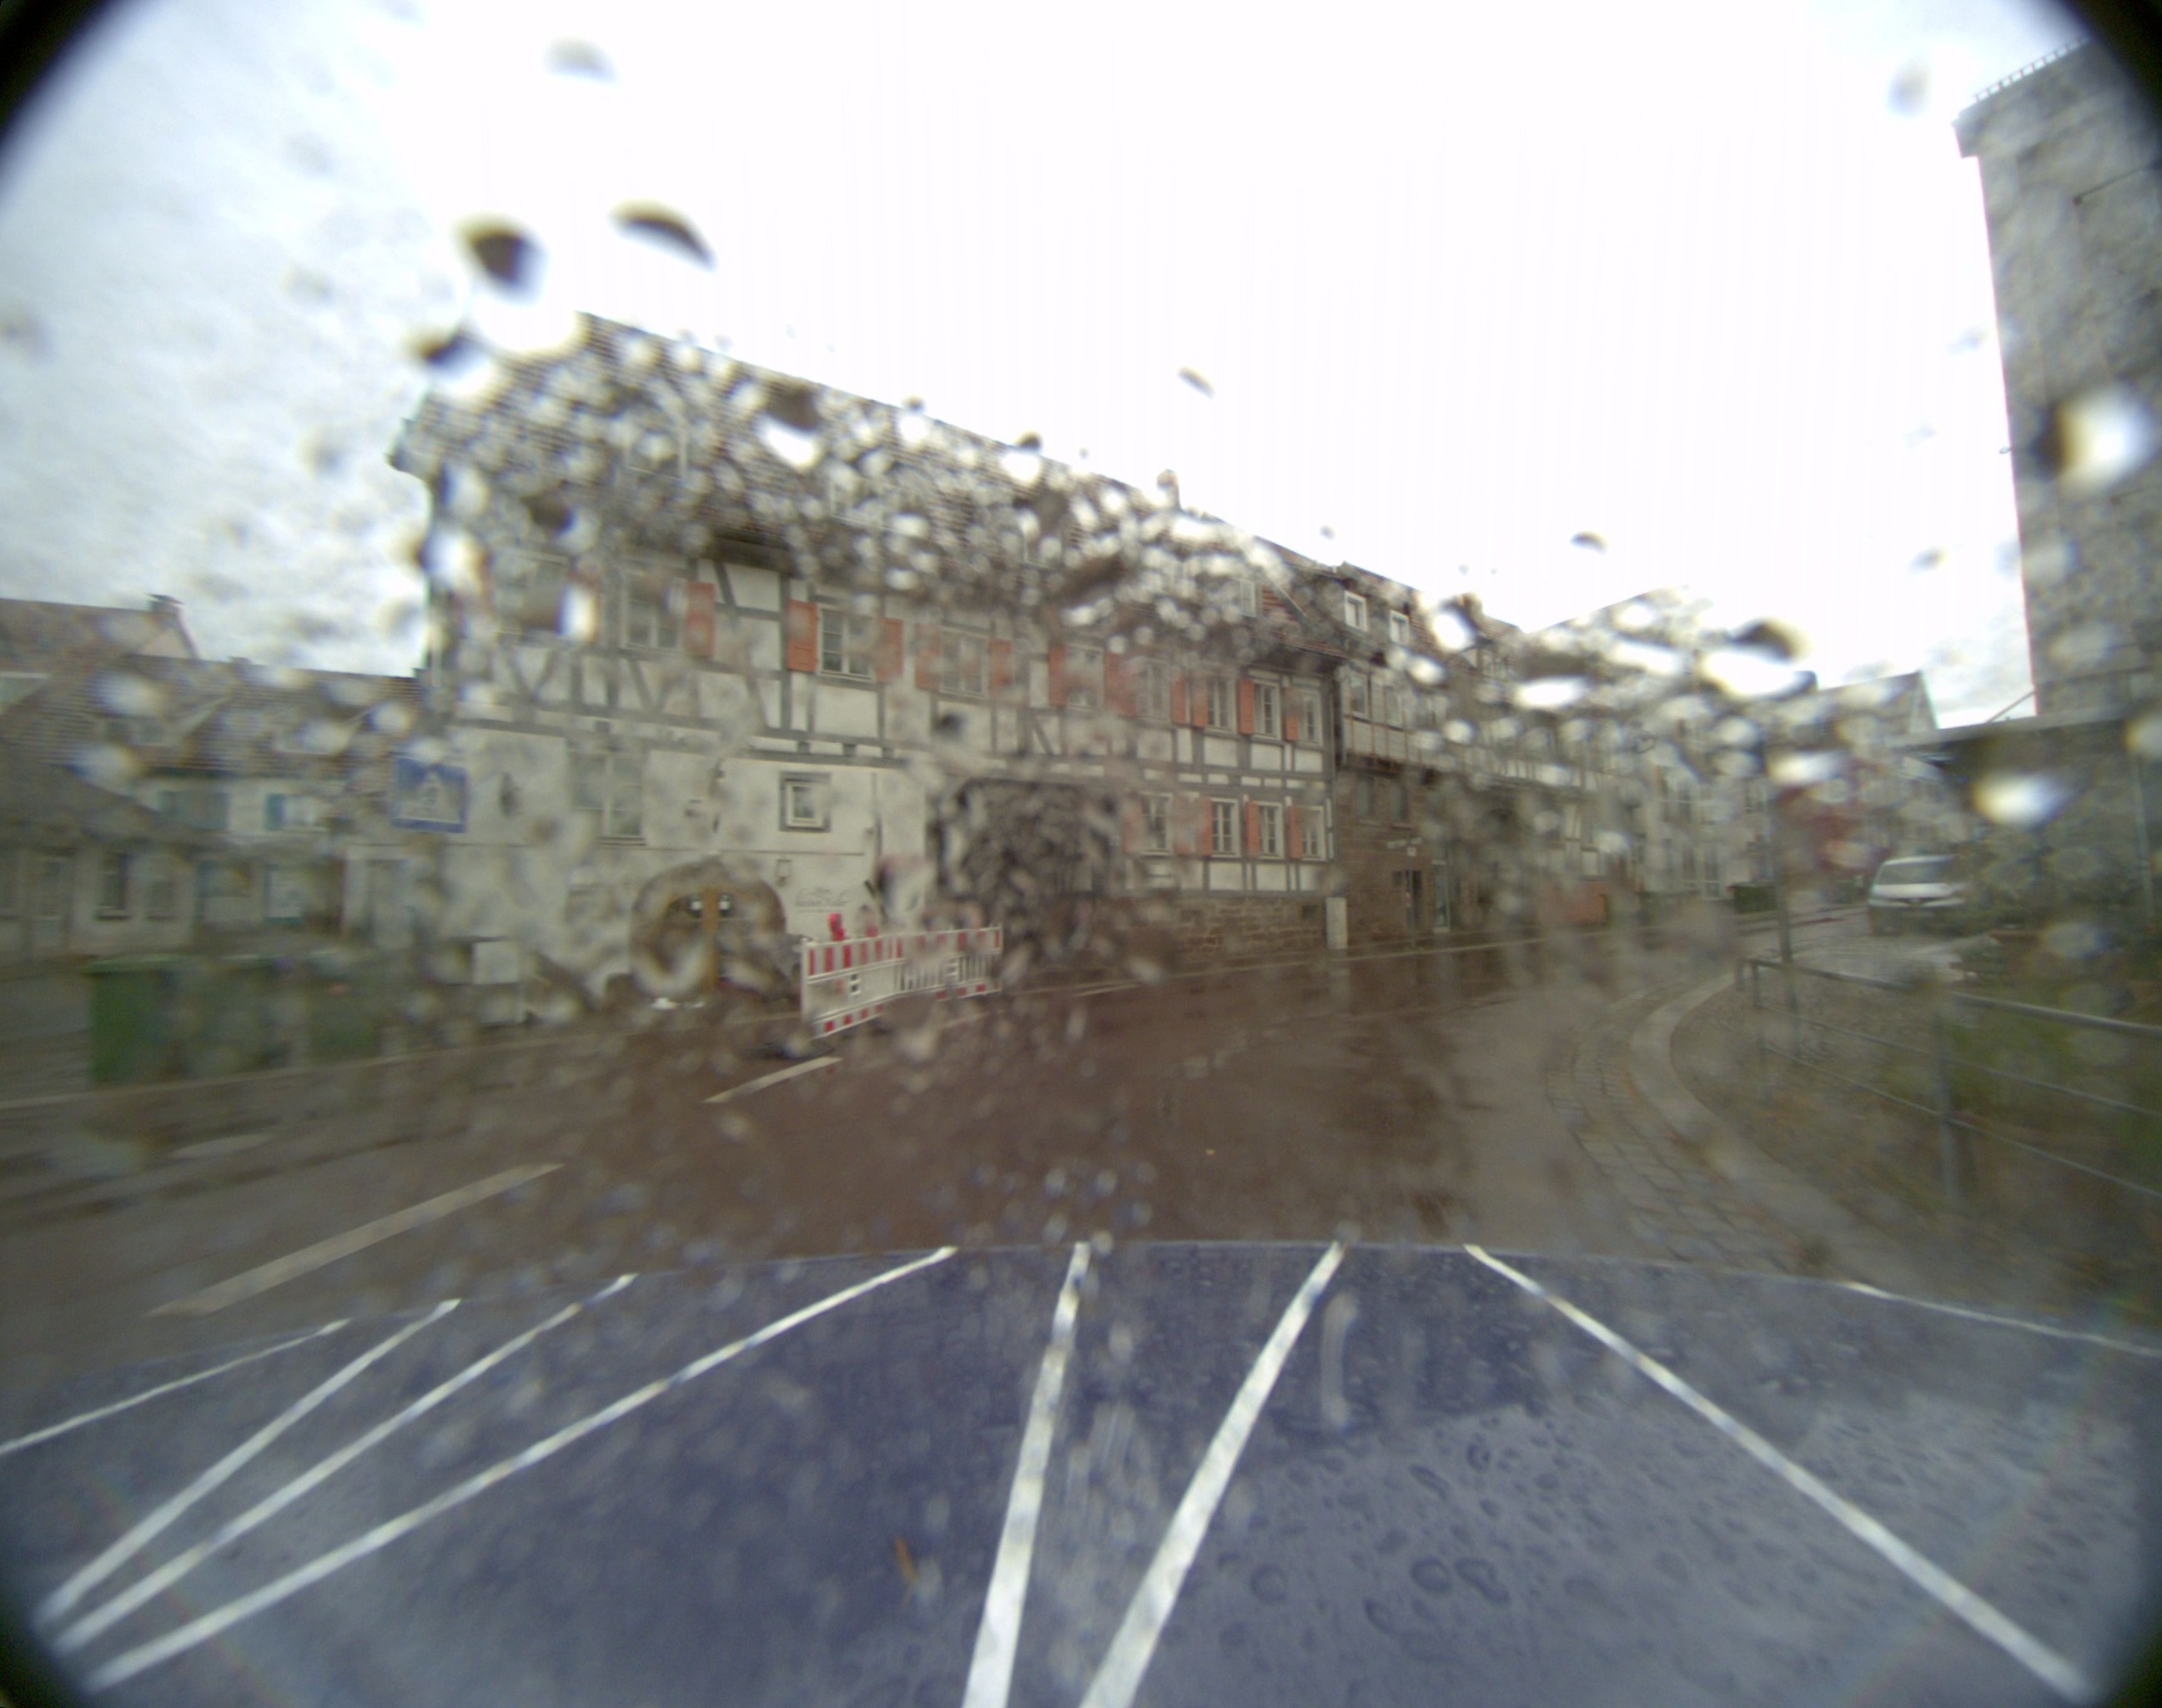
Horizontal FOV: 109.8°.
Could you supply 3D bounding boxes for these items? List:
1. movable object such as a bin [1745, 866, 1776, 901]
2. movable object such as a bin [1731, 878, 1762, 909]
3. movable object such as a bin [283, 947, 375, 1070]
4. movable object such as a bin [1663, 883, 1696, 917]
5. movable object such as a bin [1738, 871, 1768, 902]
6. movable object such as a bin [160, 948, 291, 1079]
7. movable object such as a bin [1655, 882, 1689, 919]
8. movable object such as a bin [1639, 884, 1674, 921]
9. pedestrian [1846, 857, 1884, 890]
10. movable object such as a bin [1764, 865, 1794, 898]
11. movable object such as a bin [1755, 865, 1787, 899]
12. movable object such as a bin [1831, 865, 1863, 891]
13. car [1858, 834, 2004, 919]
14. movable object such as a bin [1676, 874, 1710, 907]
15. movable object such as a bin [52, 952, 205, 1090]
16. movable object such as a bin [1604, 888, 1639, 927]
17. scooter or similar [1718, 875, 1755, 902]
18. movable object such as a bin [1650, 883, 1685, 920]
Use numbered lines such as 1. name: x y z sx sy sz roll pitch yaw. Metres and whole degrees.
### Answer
1. movable object such as a bin: 26.157 1.145 29.252 0.633 1.282 0.639 -1 -3 -28
2. movable object such as a bin: 24.993 1.490 28.543 0.633 1.124 0.617 -1 -3 -28
3. movable object such as a bin: -7.264 1.463 7.369 0.541 1.059 0.679 2 -3 -39
4. movable object such as a bin: 19.880 1.534 25.228 0.589 1.074 0.670 -2 -2 -35
5. movable object such as a bin: 25.570 1.227 28.917 0.633 1.124 0.617 -1 -3 -28
6. movable object such as a bin: -7.868 1.441 7.014 0.540 1.059 0.617 -2 -1 -17
7. movable object such as a bin: 19.282 1.522 24.785 0.633 1.139 0.639 -1 -3 -35
8. movable object such as a bin: 18.112 1.531 23.913 0.581 1.139 0.639 -1 -3 -28
9. pedestrian: 41.753 1.057 40.471 1.180 1.687 1.178 1 -3 -36
10. movable object such as a bin: 27.785 1.104 30.248 0.633 1.282 0.639 -1 -3 -28
11. movable object such as a bin: 26.967 1.114 29.697 0.633 1.282 0.639 -1 -3 -28
12. movable object such as a bin: 35.439 1.109 35.151 0.864 1.123 0.805 -1 -3 -35
13. car: 20.589 0.522 18.365 4.436 1.813 1.726 -1 -4 -35
14. movable object such as a bin: 20.872 1.243 25.921 0.652 1.089 0.679 0 -4 -37
15. movable object such as a bin: -8.522 1.462 6.831 0.587 1.059 0.679 -2 -1 -22
16. movable object such as a bin: 16.202 1.602 22.795 0.600 1.120 0.610 -1 -3 -33
17. scooter or similar: 29.615 1.540 34.314 1.448 1.138 0.666 -1 -3 -26
18. movable object such as a bin: 18.712 1.505 24.242 0.604 1.139 0.639 -1 -3 -28
